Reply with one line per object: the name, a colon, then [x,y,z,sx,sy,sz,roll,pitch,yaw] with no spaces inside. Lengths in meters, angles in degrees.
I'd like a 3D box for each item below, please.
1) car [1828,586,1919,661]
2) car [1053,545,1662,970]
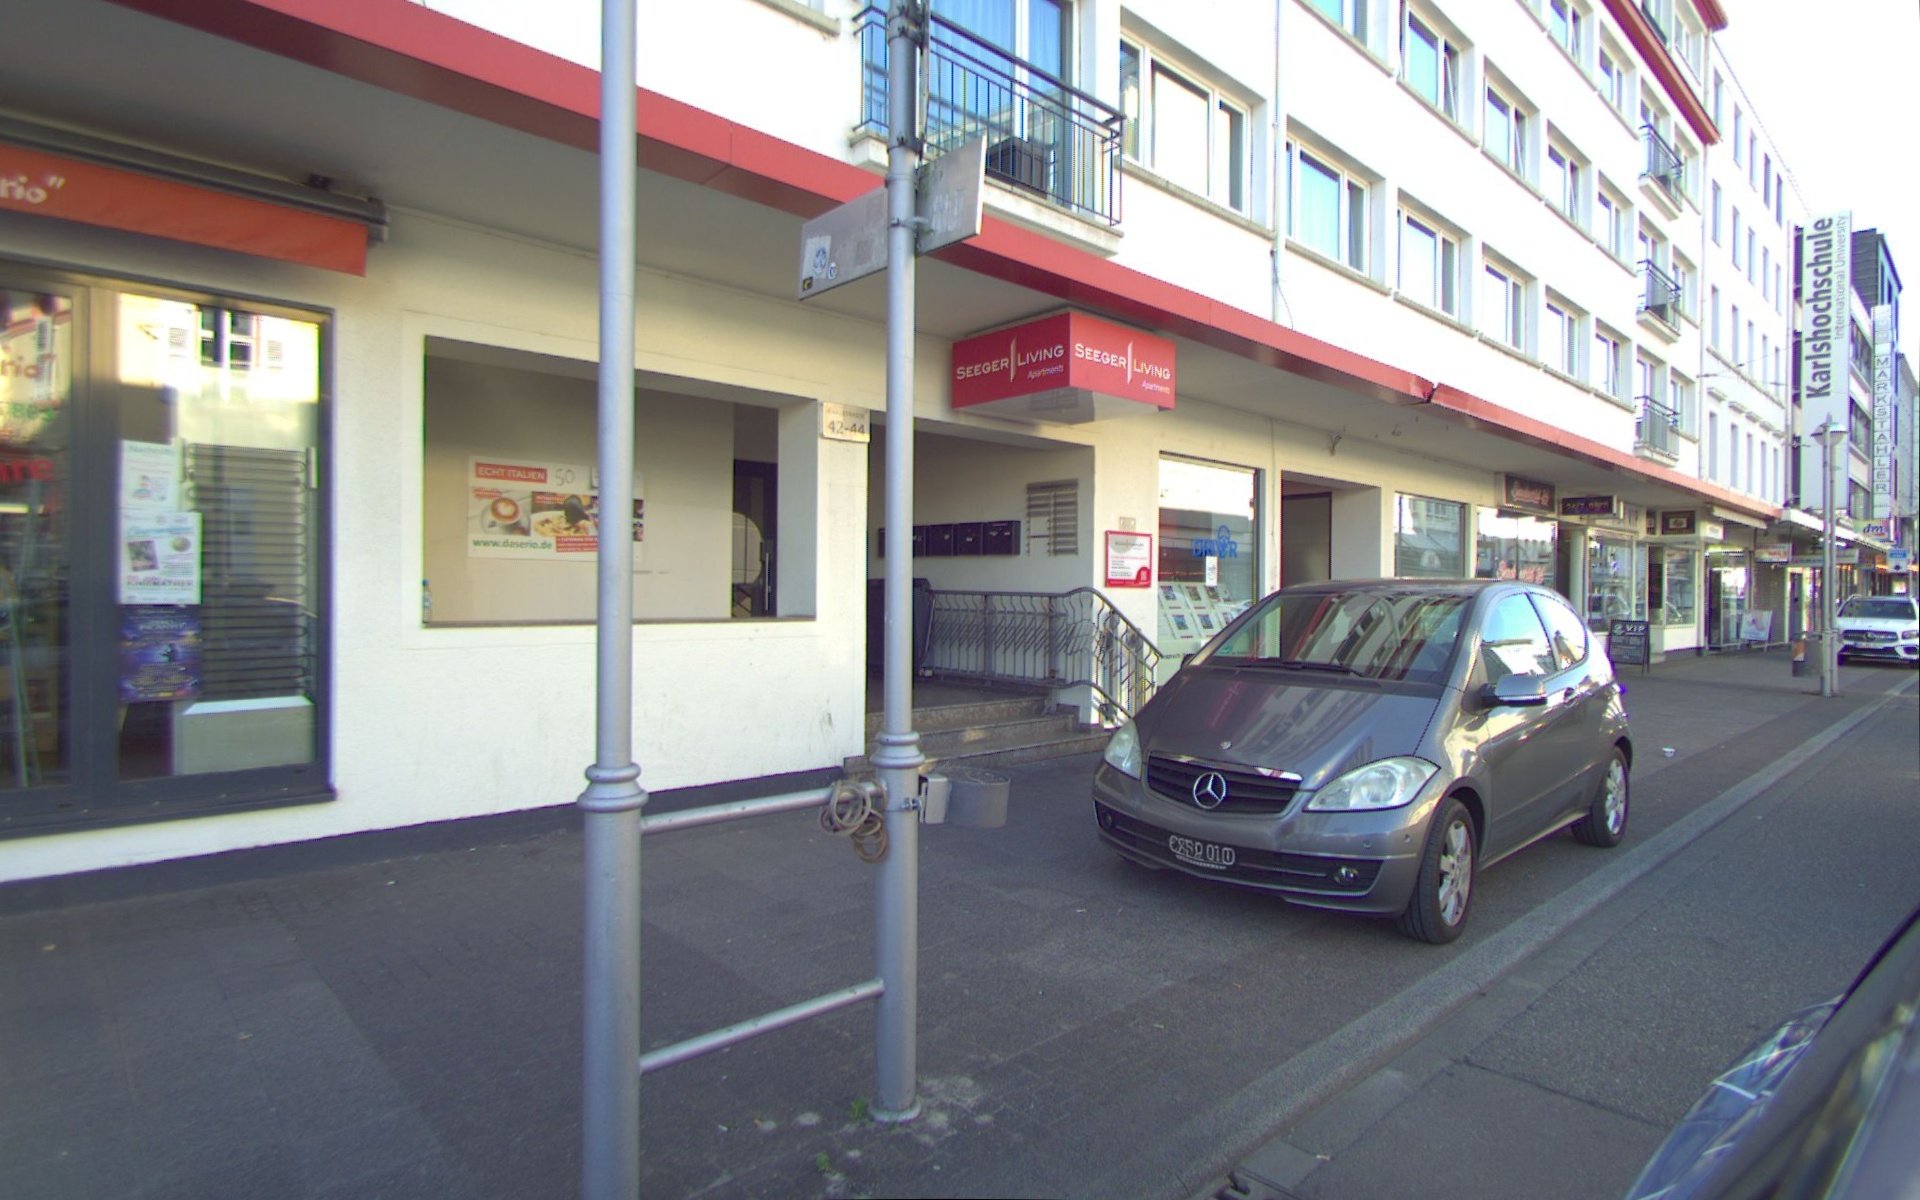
car: [22.388,0.519,24.347,1.994,1.650,3.935,1,1,45]
car: [2.458,0.583,5.701,3.932,1.565,1.681,0,0,-43]
